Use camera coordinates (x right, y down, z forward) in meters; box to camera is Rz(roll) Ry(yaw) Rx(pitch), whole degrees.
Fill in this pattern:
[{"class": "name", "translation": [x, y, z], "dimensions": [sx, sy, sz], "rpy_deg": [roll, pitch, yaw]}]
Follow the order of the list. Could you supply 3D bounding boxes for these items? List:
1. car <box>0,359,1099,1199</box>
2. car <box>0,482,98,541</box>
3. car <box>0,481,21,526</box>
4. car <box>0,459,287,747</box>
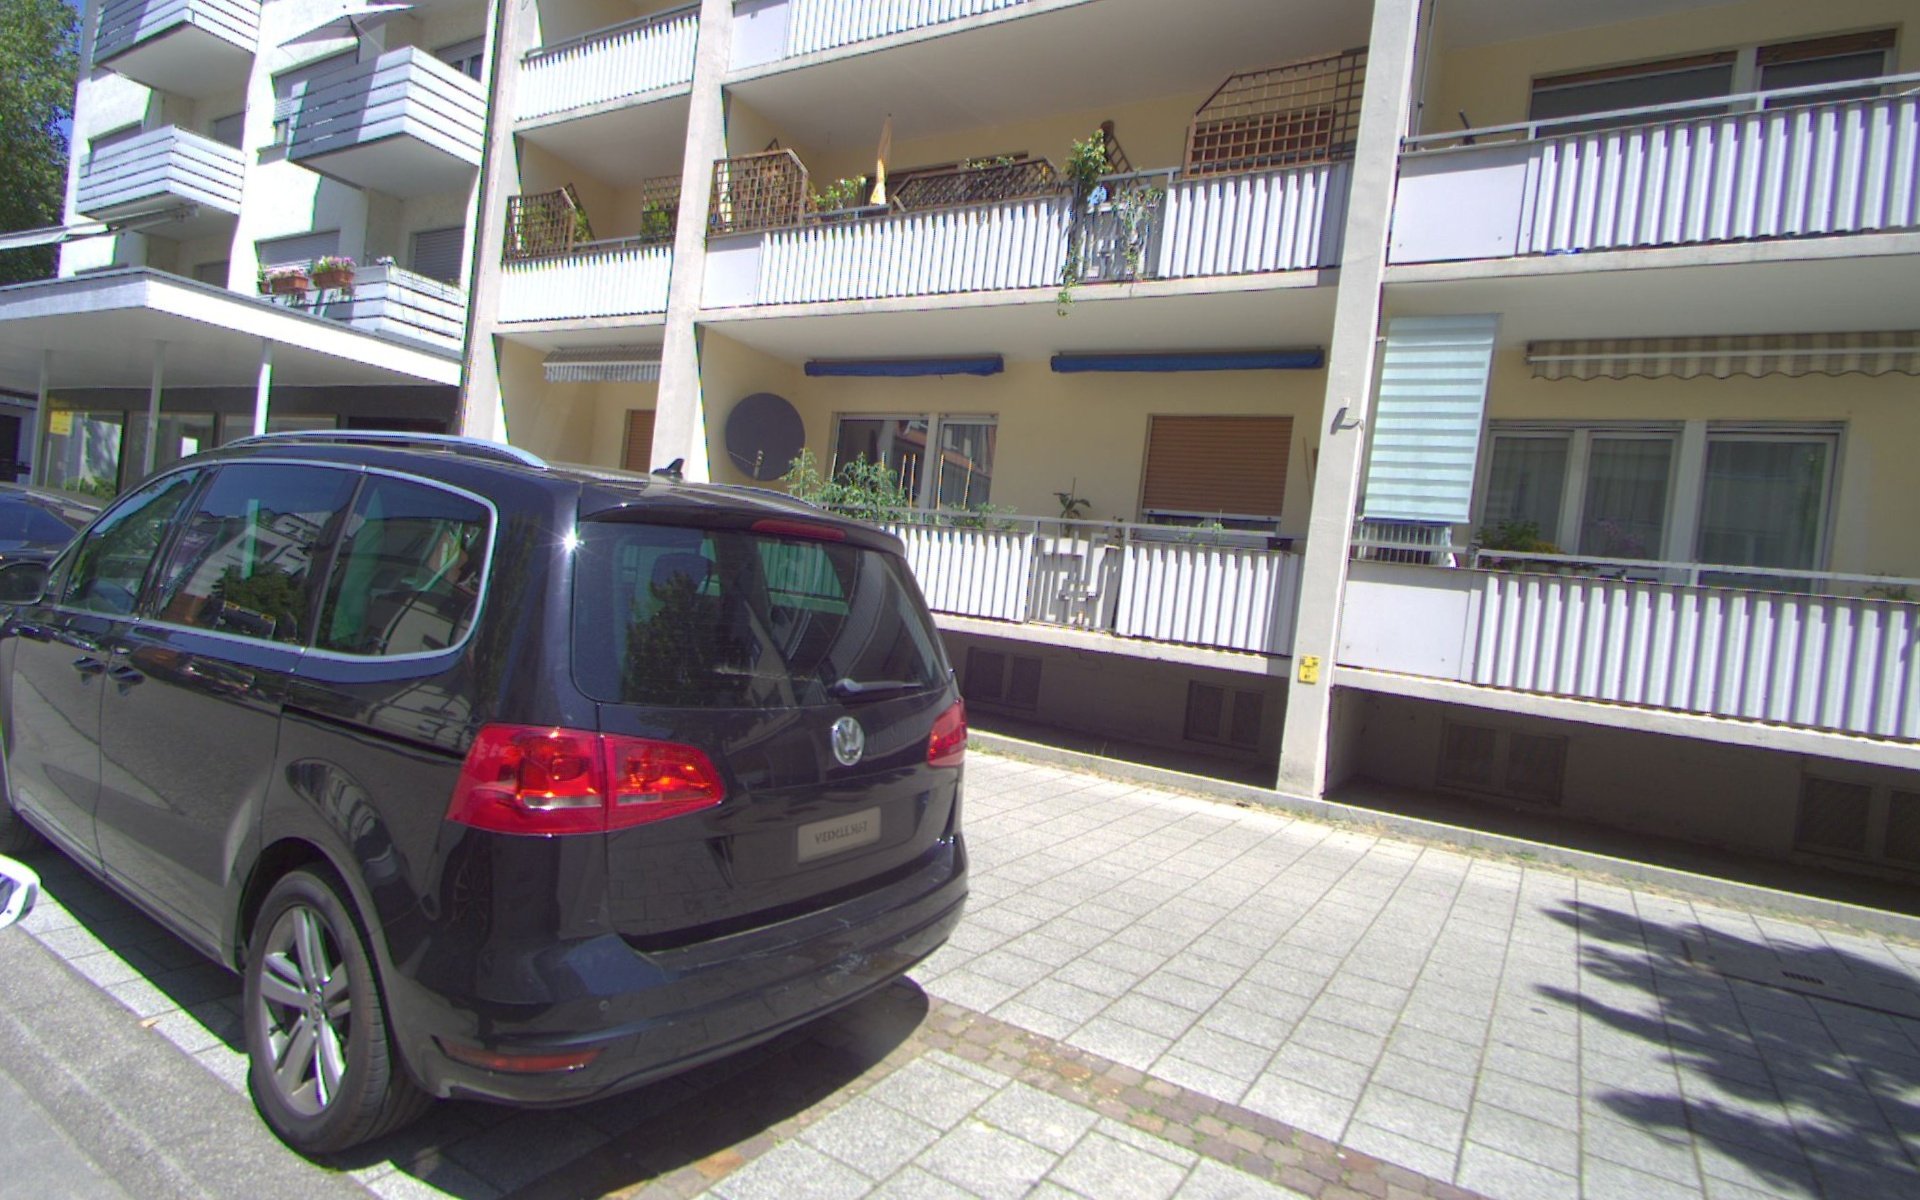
[{"class": "car", "translation": [-2.036, 0.273, 3.811], "dimensions": [4.494, 1.822, 1.994], "rpy_deg": [8, 3, 33]}, {"class": "car", "translation": [-27.480, -2.645, 28.890], "dimensions": [3.924, 1.473, 1.848], "rpy_deg": [5, 2, 4]}, {"class": "car", "translation": [-33.310, -3.376, 34.237], "dimensions": [1.835, 1.472, 3.952], "rpy_deg": [3, 3, -42]}, {"class": "car", "translation": [-6.818, -0.154, 6.930], "dimensions": [4.493, 1.550, 1.895], "rpy_deg": [6, 1, 32]}]
